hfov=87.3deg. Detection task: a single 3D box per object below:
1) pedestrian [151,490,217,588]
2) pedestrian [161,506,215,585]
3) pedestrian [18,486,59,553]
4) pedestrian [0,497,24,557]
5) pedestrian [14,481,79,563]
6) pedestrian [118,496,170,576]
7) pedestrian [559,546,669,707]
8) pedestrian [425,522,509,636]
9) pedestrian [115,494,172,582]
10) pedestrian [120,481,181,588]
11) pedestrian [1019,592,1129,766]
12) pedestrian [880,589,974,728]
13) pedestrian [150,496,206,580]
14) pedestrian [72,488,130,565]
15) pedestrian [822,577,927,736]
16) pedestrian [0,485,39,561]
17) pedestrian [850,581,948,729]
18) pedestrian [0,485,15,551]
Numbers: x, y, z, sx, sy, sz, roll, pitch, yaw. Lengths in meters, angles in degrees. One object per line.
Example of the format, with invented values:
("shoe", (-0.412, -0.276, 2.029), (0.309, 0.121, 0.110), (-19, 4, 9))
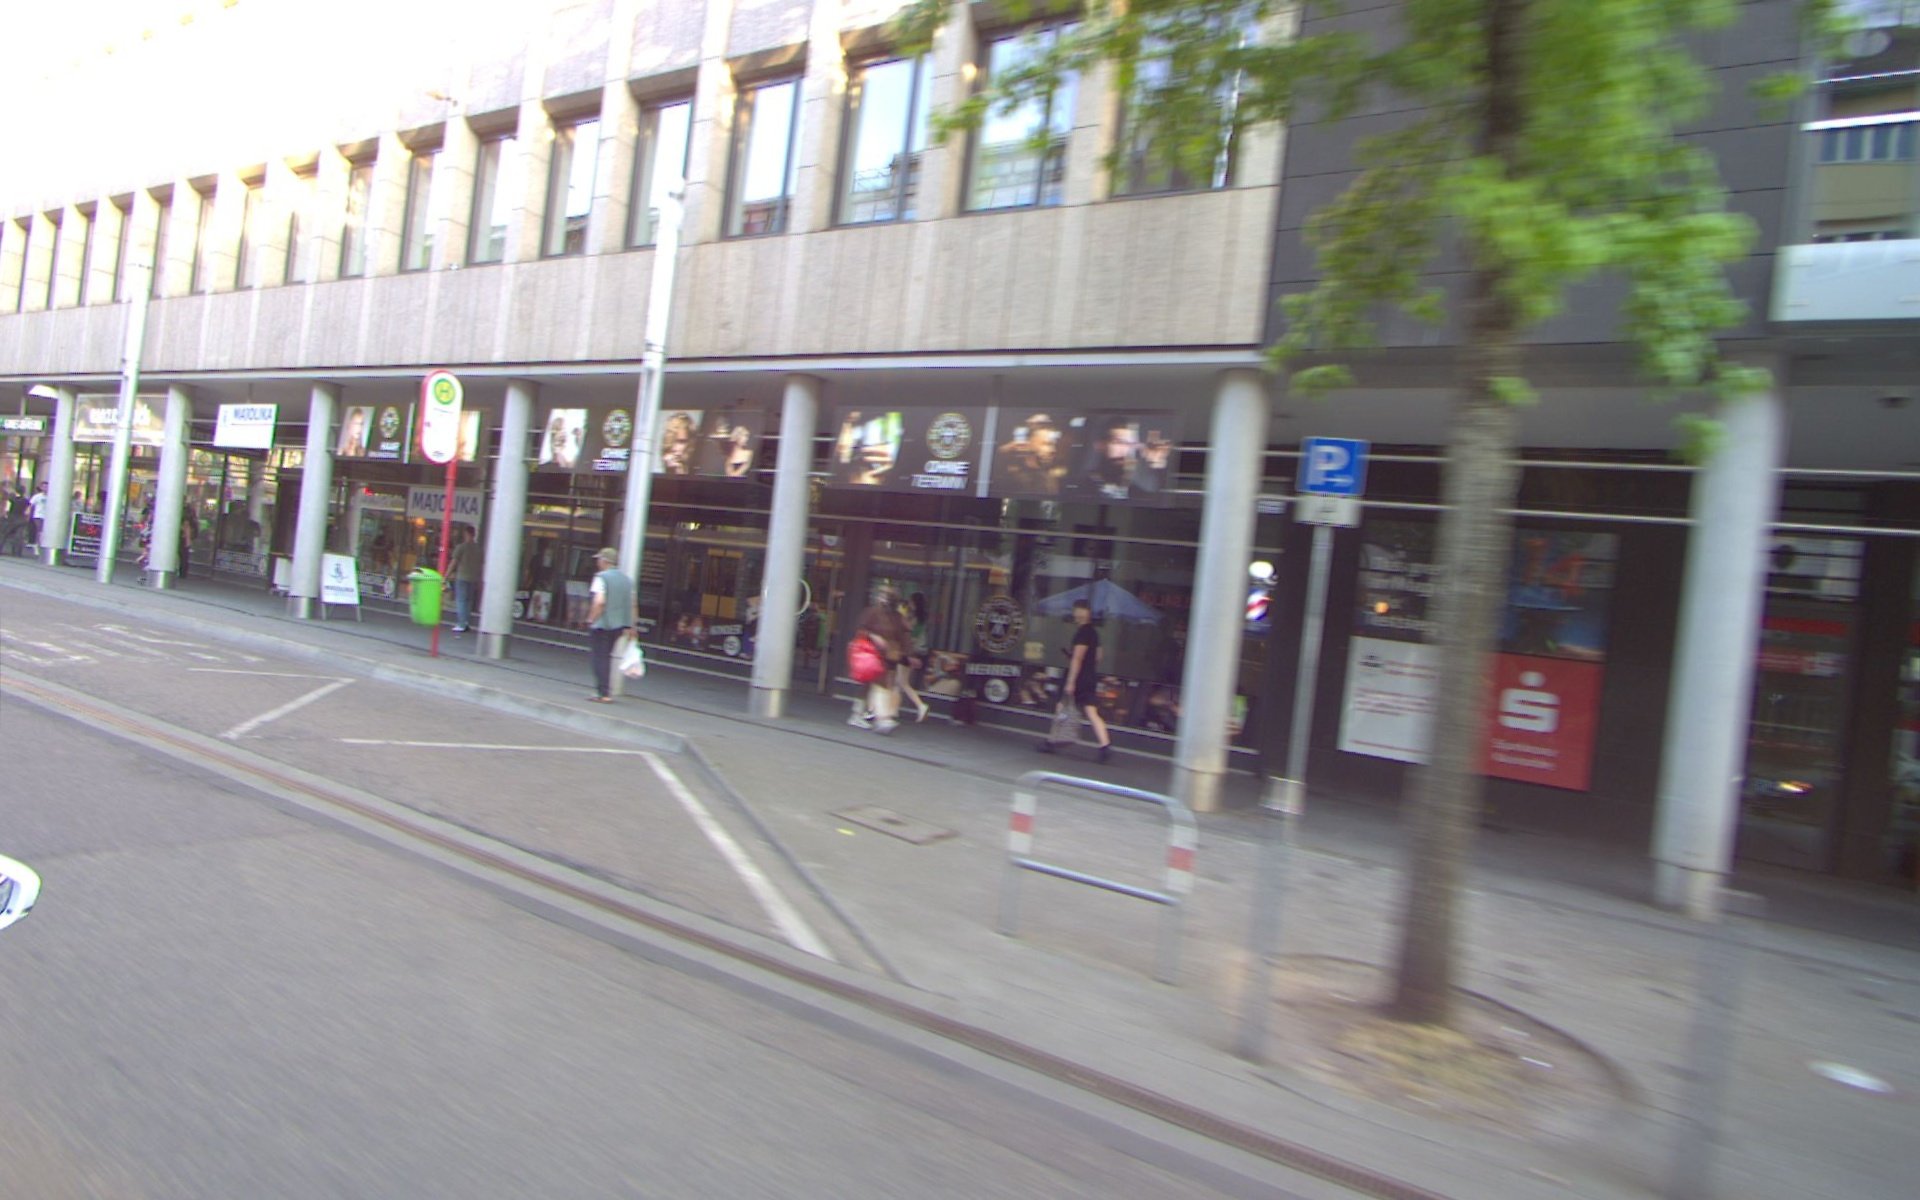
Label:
("pedestrian", (-16.077, -1.253, 20.842), (0.783, 1.913, 0.707), (7, 1, 31))
("pedestrian", (-17.536, -1.236, 22.855), (0.669, 1.682, 0.649), (7, 1, 31))
("pedestrian", (-25.299, -2.206, 27.618), (0.607, 1.753, 0.571), (7, 1, 29))
("pedestrian", (-22.401, -1.738, 23.391), (0.523, 1.330, 0.719), (7, -1, 31))
("pedestrian", (-22.074, -1.873, 24.311), (0.844, 1.820, 0.845), (7, 1, 30))
("pedestrian", (-19.202, -1.504, 23.662), (0.760, 1.775, 0.583), (7, 1, 29))
("pedestrian", (-3.689, 0.291, 10.738), (0.627, 1.606, 0.670), (7, -2, 30))
("pedestrian", (-8.841, -0.364, 18.055), (0.884, 1.913, 0.845), (7, 1, 30))
("pedestrian", (-17.392, -1.313, 21.436), (0.760, 1.775, 0.583), (7, 1, 29))
("pedestrian", (-15.629, -1.262, 19.423), (0.644, 1.968, 0.579), (7, 1, 30))
("pedestrian", (1.282, 0.868, 11.293), (0.849, 1.794, 0.674), (6, 1, 29))
("pedestrian", (-0.419, 0.746, 12.986), (0.805, 1.664, 0.711), (6, 1, 29))
("pedestrian", (-18.816, -1.480, 24.205), (0.760, 1.906, 0.688), (7, 1, 29))
("pedestrian", (-21.684, -1.848, 25.407), (0.761, 1.794, 0.774), (7, 1, 29))
("pedestrian", (-0.958, 0.635, 11.382), (0.728, 1.664, 0.748), (7, 1, 30))
("pedestrian", (-21.065, -1.723, 22.268), (0.724, 1.590, 0.725), (7, 1, 32))
("pedestrian", (-0.739, 0.664, 12.193), (0.775, 1.664, 0.682), (6, 1, 29))
("pedestrian", (-25.337, -2.189, 26.281), (0.710, 1.682, 0.688), (7, 1, 32))
